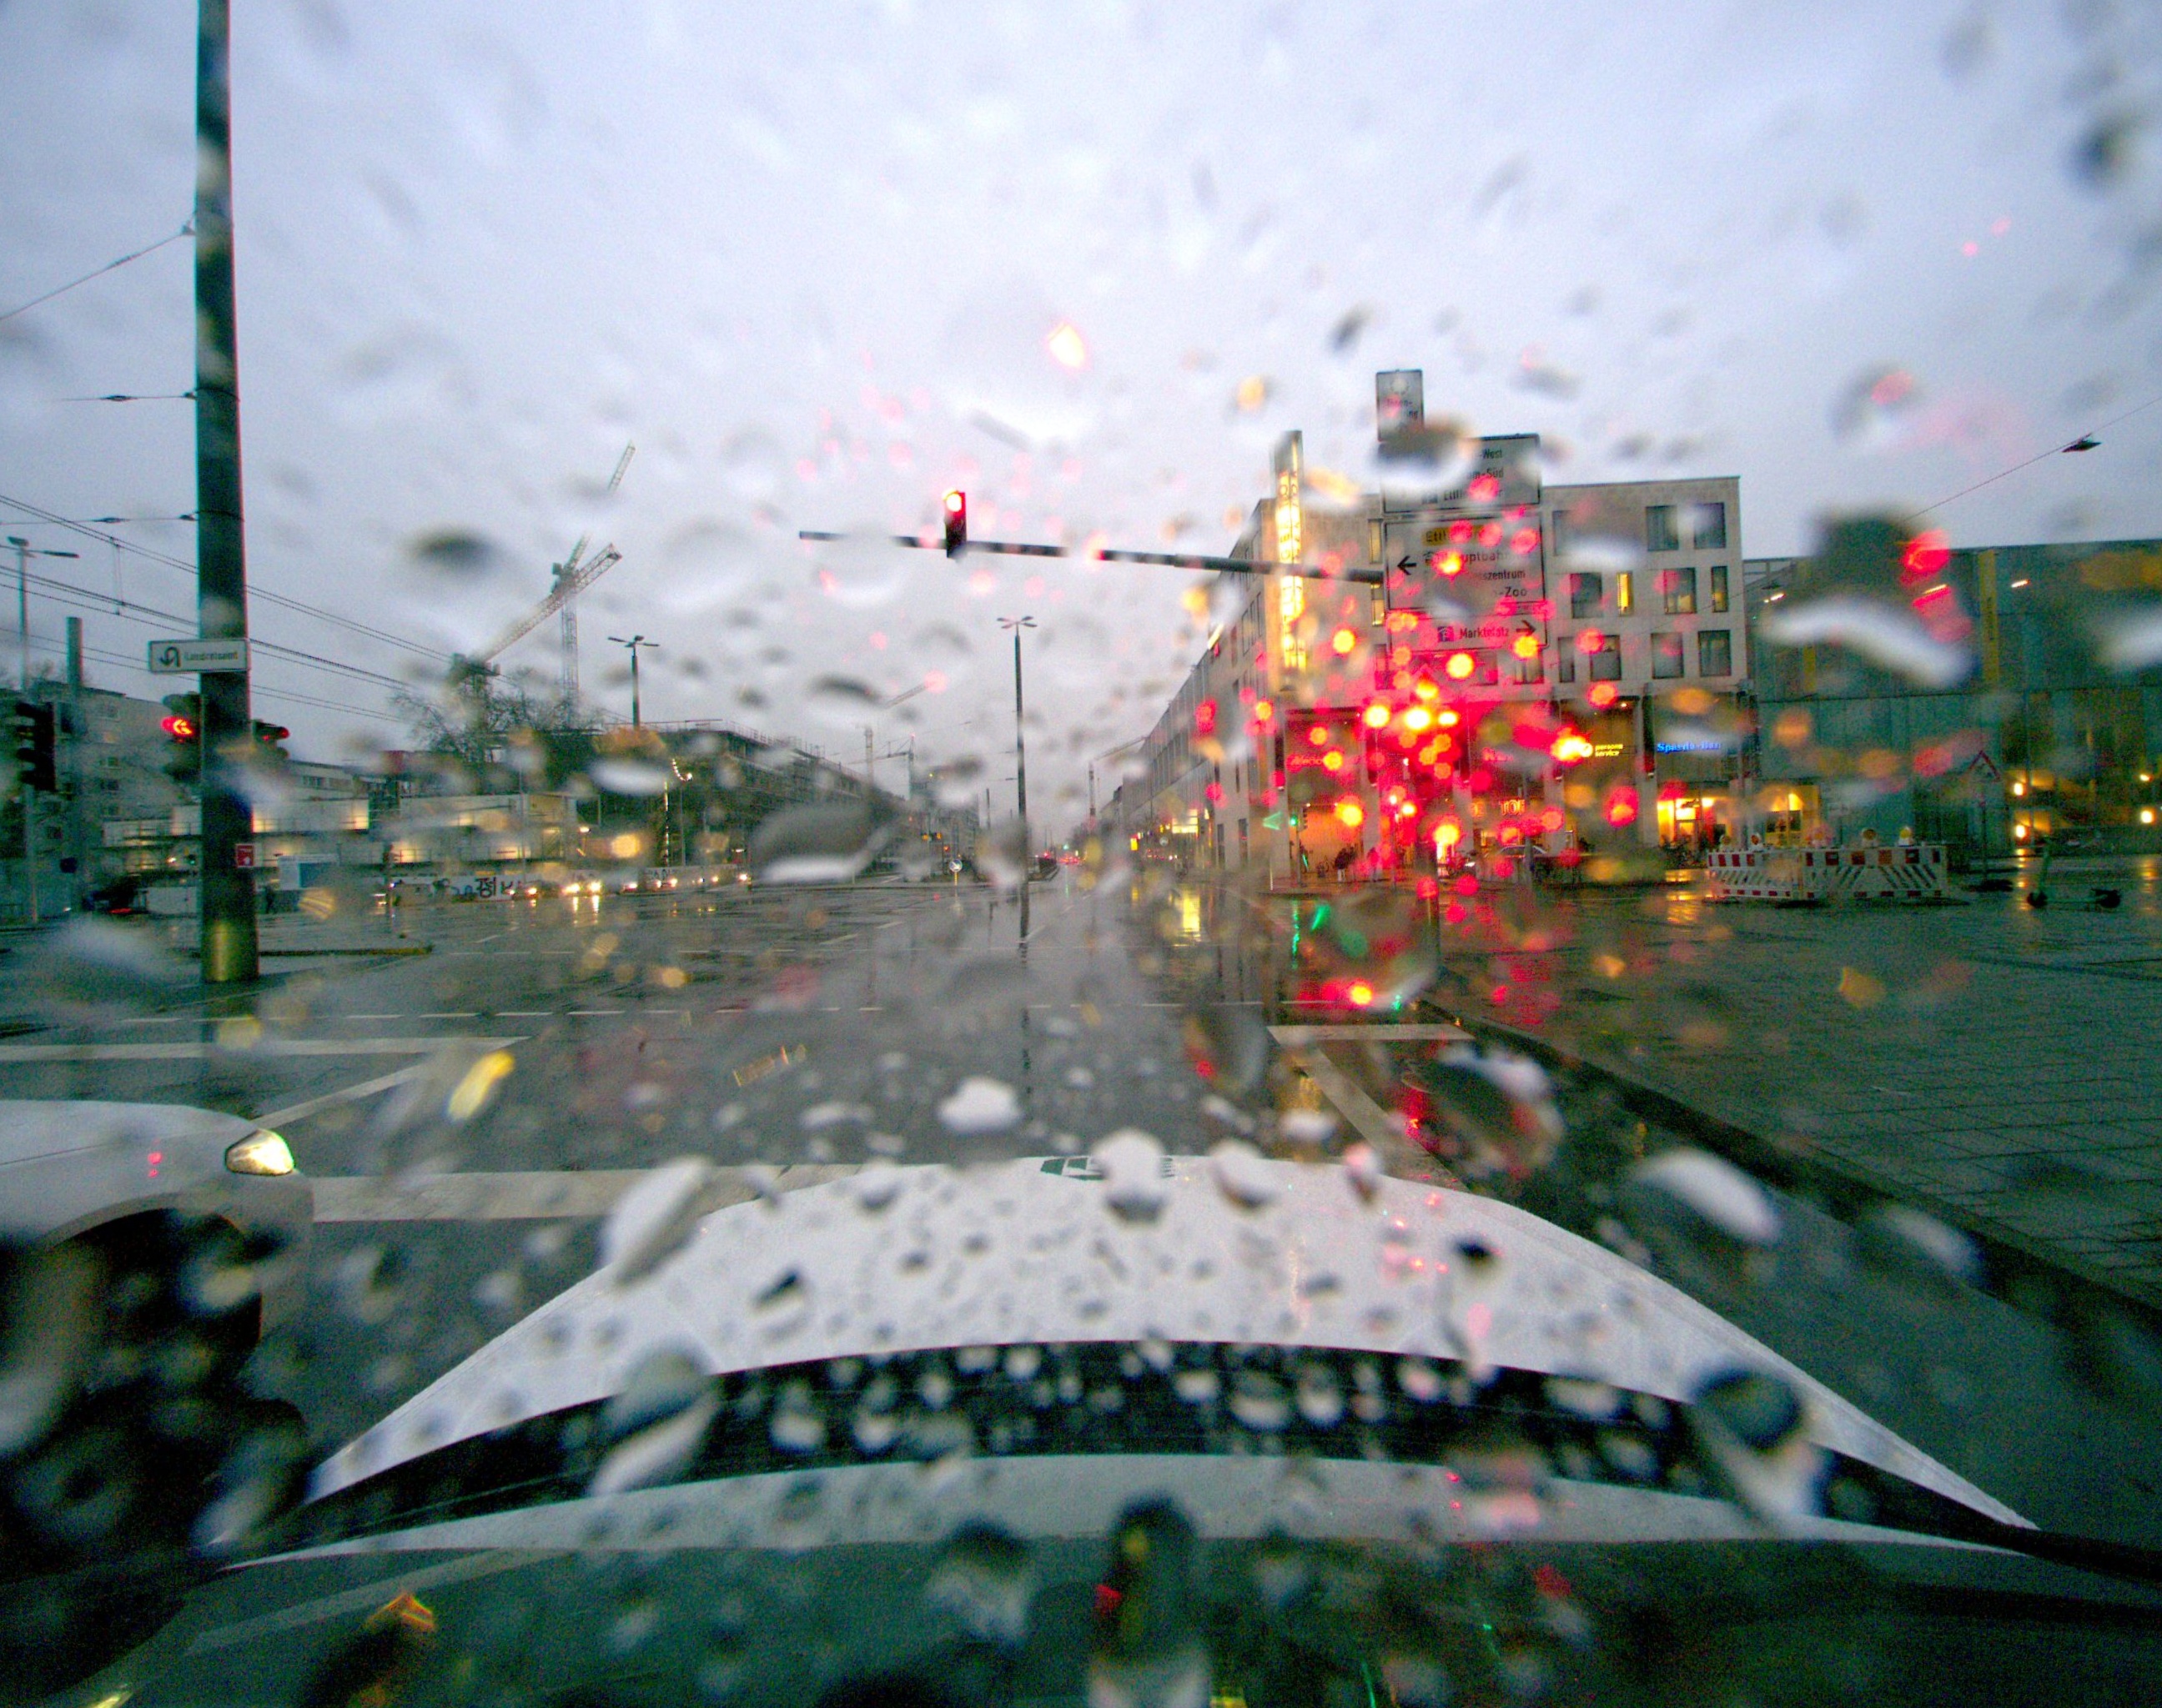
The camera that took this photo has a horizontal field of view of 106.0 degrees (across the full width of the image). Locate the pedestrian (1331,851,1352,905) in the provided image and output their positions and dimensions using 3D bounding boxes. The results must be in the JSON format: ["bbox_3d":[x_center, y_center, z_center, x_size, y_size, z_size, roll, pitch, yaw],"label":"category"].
[{"bbox_3d":[11.886,1.076,37.233,0.712,2.441,0.758,0,-1,1],"label":"pedestrian"}]

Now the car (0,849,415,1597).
[{"bbox_3d":[-3.202,0.764,0.326,2.010,1.487,4.561,-2,0,1],"label":"car"}]

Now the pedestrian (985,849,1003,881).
[{"bbox_3d":[-4.996,0.626,46.695,0.826,1.831,0.778,0,-1,-29],"label":"pedestrian"}]

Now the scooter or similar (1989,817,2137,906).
[{"bbox_3d":[15.685,0.110,13.065,0.590,1.352,1.495,0,0,2],"label":"scooter or similar"}]

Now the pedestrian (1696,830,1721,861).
[{"bbox_3d":[33.963,-0.441,44.090,0.737,1.684,0.783,0,-1,8],"label":"pedestrian"}]

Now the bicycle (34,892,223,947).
[{"bbox_3d":[-22.579,1.518,19.434,0.736,1.099,2.883,-1,-1,43],"label":"bicycle"}]

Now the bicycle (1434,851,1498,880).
[{"bbox_3d":[19.252,0.580,40.780,2.705,1.359,0.957,-2,-1,-2],"label":"bicycle"}]

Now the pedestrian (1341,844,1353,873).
[{"bbox_3d":[15.607,0.260,47.794,0.480,1.663,0.460,-3,-1,32],"label":"pedestrian"}]

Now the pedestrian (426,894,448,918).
[{"bbox_3d":[-37.722,3.042,47.716,0.721,1.388,0.728,-1,-1,23],"label":"pedestrian"}]

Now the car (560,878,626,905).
[{"bbox_3d":[-33.628,2.546,56.272,1.986,1.657,4.001,-2,0,2],"label":"car"}]

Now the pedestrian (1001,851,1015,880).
[{"bbox_3d":[-4.310,0.669,48.212,0.605,1.686,0.581,-1,-1,44],"label":"pedestrian"}]

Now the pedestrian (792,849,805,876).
[{"bbox_3d":[-24.115,0.717,69.479,0.762,2.323,0.763,0,-2,1],"label":"pedestrian"}]

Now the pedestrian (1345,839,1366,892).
[{"bbox_3d":[12.716,0.524,37.707,0.687,2.441,0.758,0,-1,1],"label":"pedestrian"}]

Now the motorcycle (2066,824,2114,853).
[{"bbox_3d":[48.249,-0.750,38.946,1.482,1.352,0.595,0,0,5],"label":"motorcycle"}]

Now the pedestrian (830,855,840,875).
[{"bbox_3d":[-23.554,1.026,77.963,0.696,1.881,0.553,0,-1,1],"label":"pedestrian"}]

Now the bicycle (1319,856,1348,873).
[{"bbox_3d":[15.688,0.655,50.589,1.642,1.070,0.524,0,-1,-2],"label":"bicycle"}]

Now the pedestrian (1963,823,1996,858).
[{"bbox_3d":[44.067,-0.653,39.967,0.737,1.684,0.783,0,-1,8],"label":"pedestrian"}]

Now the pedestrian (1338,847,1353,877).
[{"bbox_3d":[15.523,0.458,47.796,0.634,1.709,0.574,-2,-1,1],"label":"pedestrian"}]

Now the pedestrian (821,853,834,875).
[{"bbox_3d":[-23.841,0.921,76.686,0.940,2.014,1.092,0,-1,-5],"label":"pedestrian"}]

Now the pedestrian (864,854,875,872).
[{"bbox_3d":[-23.892,1.046,92.013,0.940,2.014,1.092,0,-1,-5],"label":"pedestrian"}]

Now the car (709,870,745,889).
[{"bbox_3d":[-35.447,2.517,81.645,1.989,1.790,3.995,0,-1,-3],"label":"car"}]

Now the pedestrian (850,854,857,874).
[{"bbox_3d":[-22.771,1.008,81.551,0.569,1.968,0.664,1,-1,-4],"label":"pedestrian"}]

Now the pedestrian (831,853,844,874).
[{"bbox_3d":[-23.631,0.940,79.186,0.939,2.014,1.093,0,-1,-2],"label":"pedestrian"}]

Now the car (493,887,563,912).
[{"bbox_3d":[-38.523,3.144,56.840,1.986,1.530,4.001,-2,0,2],"label":"car"}]

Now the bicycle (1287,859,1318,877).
[{"bbox_3d":[13.742,0.848,50.471,1.763,1.070,0.524,0,-1,-4],"label":"bicycle"}]

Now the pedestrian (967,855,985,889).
[{"bbox_3d":[-6.150,1.040,47.651,0.776,2.014,0.732,-1,-1,44],"label":"pedestrian"}]

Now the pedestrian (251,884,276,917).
[{"bbox_3d":[-49.856,2.833,49.657,0.781,2.014,0.748,0,-1,6],"label":"pedestrian"}]

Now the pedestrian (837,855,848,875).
[{"bbox_3d":[-22.603,1.065,77.244,0.762,1.898,0.763,0,-2,1],"label":"pedestrian"}]

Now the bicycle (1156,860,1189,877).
[{"bbox_3d":[6.911,1.084,61.559,2.434,1.154,0.674,-2,-1,0],"label":"bicycle"}]

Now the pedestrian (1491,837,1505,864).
[{"bbox_3d":[27.844,-0.239,54.369,0.728,1.718,0.743,-3,-1,29],"label":"pedestrian"}]

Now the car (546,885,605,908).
[{"bbox_3d":[-39.027,3.285,62.995,1.986,1.530,4.001,-2,0,2],"label":"car"}]

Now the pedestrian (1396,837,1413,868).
[{"bbox_3d":[20.901,-0.092,52.702,0.841,2.013,0.700,-2,0,10],"label":"pedestrian"}]

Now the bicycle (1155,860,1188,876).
[{"bbox_3d":[6.924,1.052,62.265,2.417,1.099,0.712,-2,-1,0],"label":"bicycle"}]

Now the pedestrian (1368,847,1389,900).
[{"bbox_3d":[13.734,0.895,37.651,0.691,2.448,0.792,0,-1,1],"label":"pedestrian"}]

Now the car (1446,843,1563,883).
[{"bbox_3d":[17.923,0.386,34.600,3.970,1.618,2.001,0,-1,3],"label":"car"}]

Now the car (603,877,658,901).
[{"bbox_3d":[-34.278,2.633,62.071,2.074,1.530,4.603,-2,0,-8],"label":"car"}]

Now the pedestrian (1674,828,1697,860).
[{"bbox_3d":[34.037,-0.548,45.867,0.782,1.739,0.779,-2,-1,17],"label":"pedestrian"}]

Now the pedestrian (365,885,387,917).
[{"bbox_3d":[-49.102,3.271,56.716,0.872,2.165,0.763,0,-1,-7],"label":"pedestrian"}]

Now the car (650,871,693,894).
[{"bbox_3d":[-34.468,2.352,68.720,1.862,1.828,3.993,0,-1,-5],"label":"car"}]

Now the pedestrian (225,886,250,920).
[{"bbox_3d":[-50.741,2.928,48.992,0.861,2.014,0.624,0,-1,-6],"label":"pedestrian"}]

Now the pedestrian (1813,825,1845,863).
[{"bbox_3d":[34.339,-0.455,37.407,0.737,1.684,0.783,0,-1,8],"label":"pedestrian"}]

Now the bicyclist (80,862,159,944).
[{"bbox_3d":[-22.720,1.133,19.275,0.736,1.871,1.167,-1,-1,43],"label":"bicyclist"}]

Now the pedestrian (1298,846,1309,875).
[{"bbox_3d":[13.593,0.383,49.829,0.596,1.745,0.526,-1,-1,10],"label":"pedestrian"}]

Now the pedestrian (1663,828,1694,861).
[{"bbox_3d":[31.230,-0.494,42.557,1.026,1.684,0.824,0,-1,1],"label":"pedestrian"}]

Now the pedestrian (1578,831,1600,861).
[{"bbox_3d":[29.371,-0.431,47.090,0.890,1.684,0.528,-2,-1,1],"label":"pedestrian"}]

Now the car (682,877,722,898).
[{"bbox_3d":[-35.376,3.095,76.083,1.989,1.790,3.995,0,-1,-3],"label":"car"}]
